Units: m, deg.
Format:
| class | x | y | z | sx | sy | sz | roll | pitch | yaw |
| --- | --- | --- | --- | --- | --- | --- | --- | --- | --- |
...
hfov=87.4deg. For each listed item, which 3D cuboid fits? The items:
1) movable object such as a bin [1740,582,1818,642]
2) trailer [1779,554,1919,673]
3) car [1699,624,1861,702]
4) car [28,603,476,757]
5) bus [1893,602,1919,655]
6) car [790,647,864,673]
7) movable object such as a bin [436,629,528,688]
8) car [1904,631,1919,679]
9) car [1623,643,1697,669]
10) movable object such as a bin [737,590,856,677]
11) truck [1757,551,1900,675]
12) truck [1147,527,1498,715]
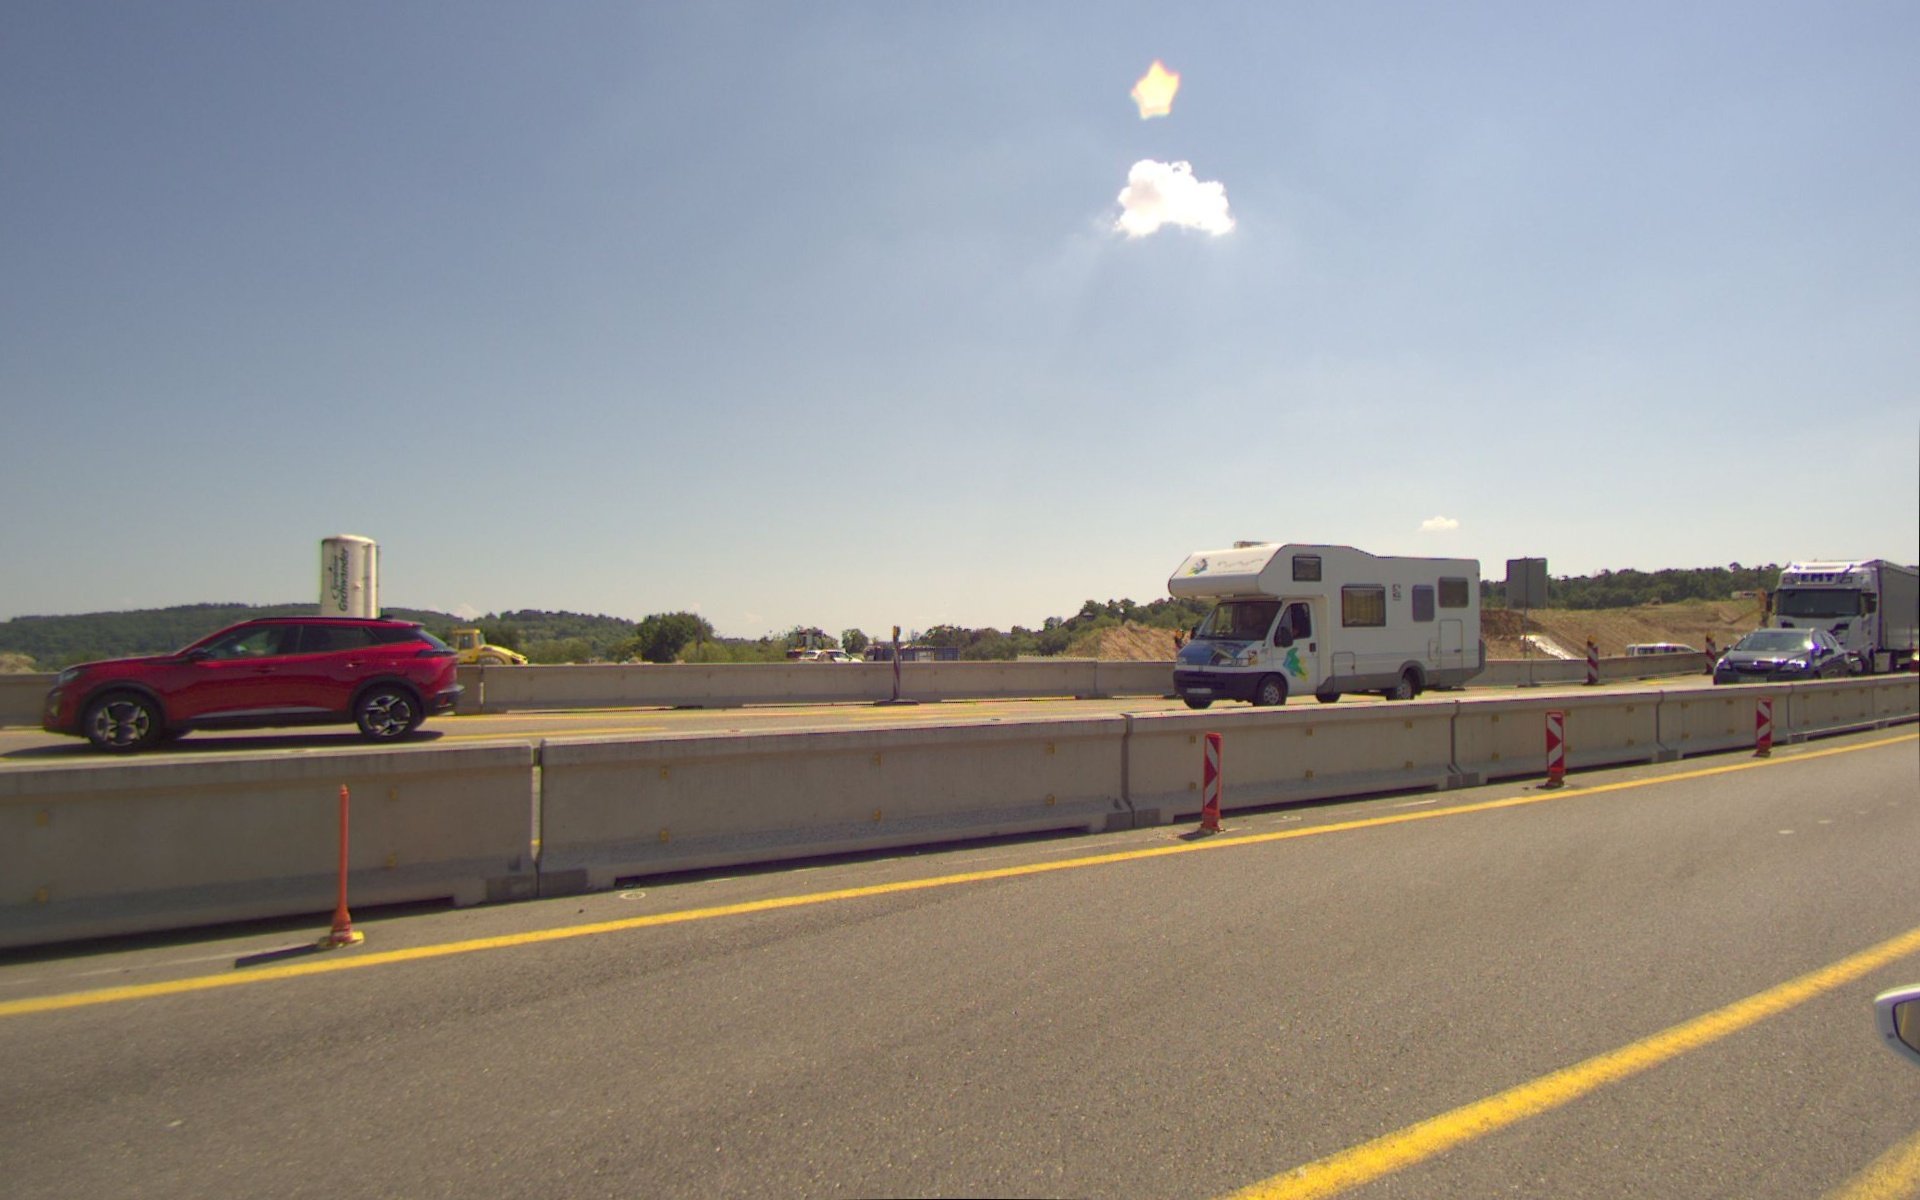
| class | x | y | z | sx | sy | sz | roll | pitch | yaw |
| --- | --- | --- | --- | --- | --- | --- | --- | --- | --- |
| movable object such as a bin | 110.058 | 1.670 | 135.083 | 3.420 | 7.814 | 7.568 | 1 | -3 | -42 |
| trailer | 36.786 | 0.640 | 40.632 | 13.856 | 4.168 | 2.739 | 1 | -3 | -39 |
| car | 18.664 | 1.372 | 22.802 | 4.351 | 1.626 | 1.650 | 1 | -3 | -34 |
| car | -8.383 | 0.906 | 12.454 | 4.279 | 1.649 | 1.714 | 1 | -2 | -27 |
| bus | 59.948 | 1.752 | 62.263 | 7.173 | 3.166 | 2.329 | 1 | -3 | -41 |
| car | -7.925 | 3.559 | 60.204 | 1.594 | 1.427 | 4.421 | -2 | -3 | 43 |
| movable object such as a bin | -26.592 | 3.223 | 56.077 | 4.418 | 3.182 | 1.991 | 0 | -2 | -21 |
| car | 31.909 | 1.734 | 32.281 | 3.933 | 1.495 | 1.656 | 1 | -3 | -37 |
| car | 40.041 | 3.210 | 57.510 | 3.139 | 1.474 | 1.548 | -1 | -2 | 21 |
| movable object such as a bin | -6.255 | 1.281 | 38.320 | 4.212 | 3.182 | 1.991 | 0 | -2 | -21 |
| truck | 31.088 | 0.521 | 35.898 | 5.449 | 4.115 | 2.683 | 1 | -3 | -37 |
| truck | 7.172 | 0.434 | 19.526 | 7.164 | 3.112 | 2.430 | 1 | -2 | -31 |
